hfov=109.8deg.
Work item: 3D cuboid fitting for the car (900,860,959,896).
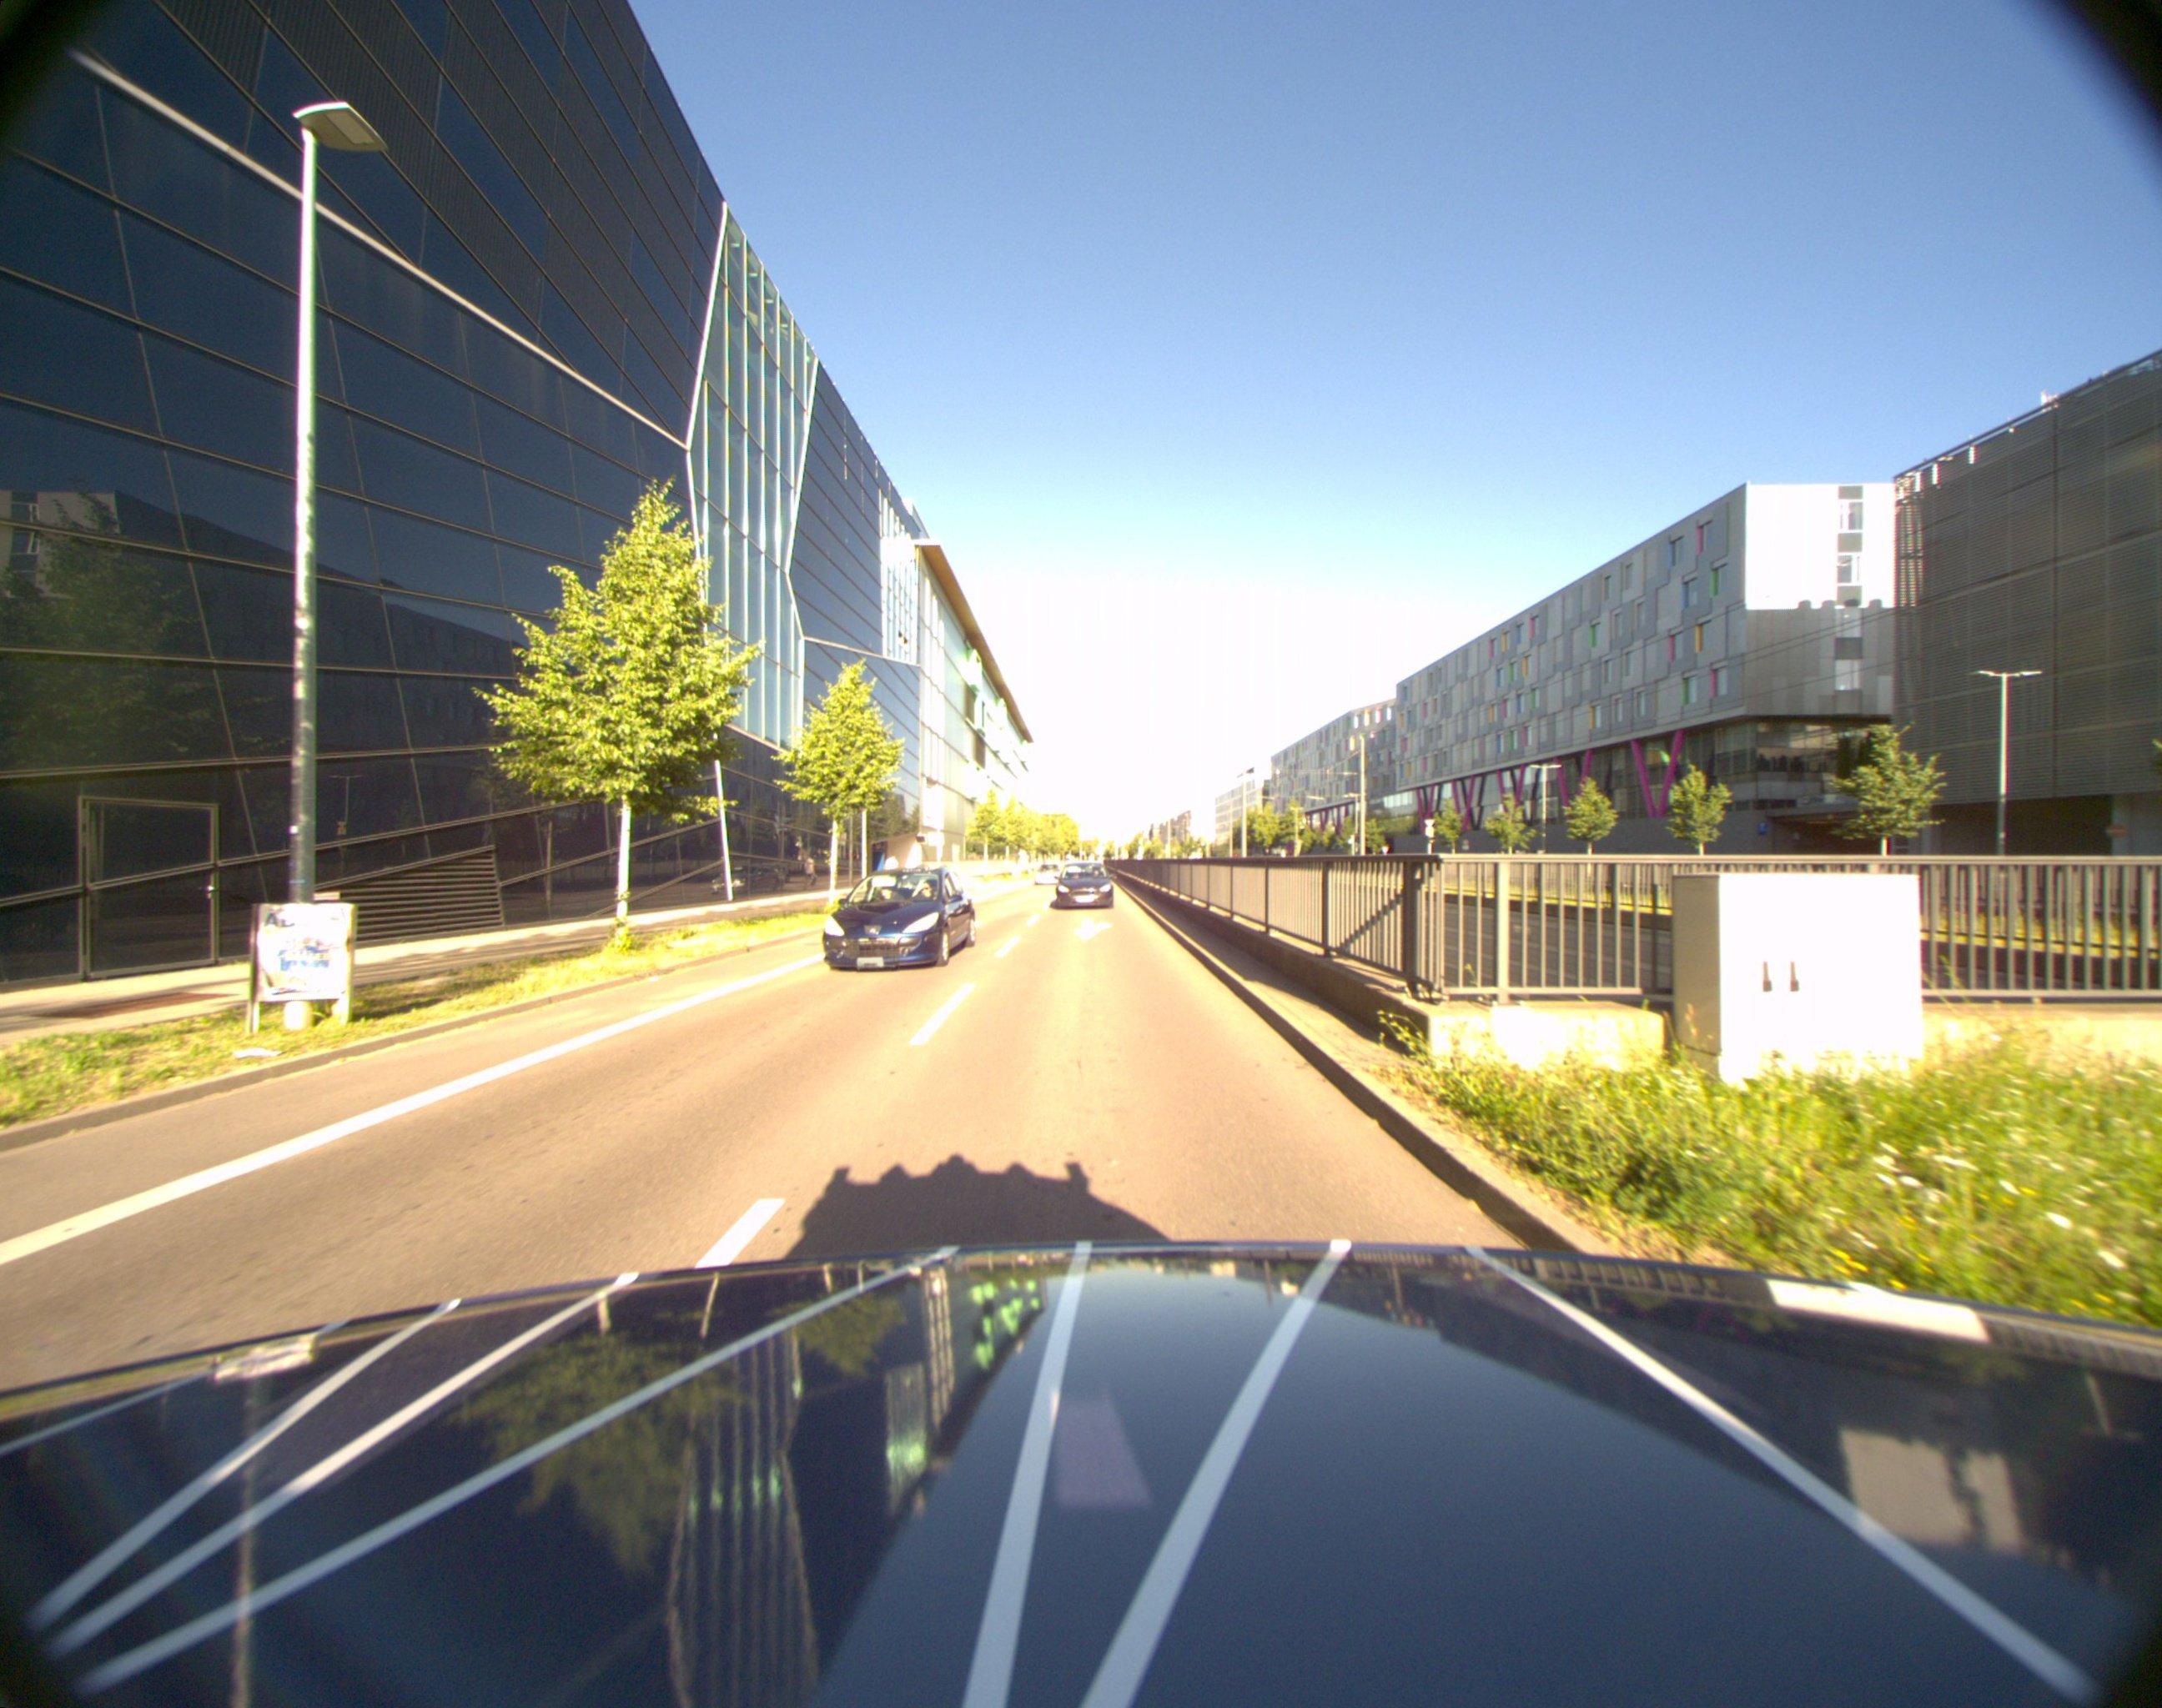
[{"bbox_3d":[-6.964,1.073,35.476,1.740,1.489,4.715,1,0,1],"label":"car"}]

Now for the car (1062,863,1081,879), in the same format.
[{"bbox_3d":[-0.964,1.743,78.579,1.907,1.612,4.000,0,0,1],"label":"car"}]

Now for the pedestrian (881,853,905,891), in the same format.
[{"bbox_3d":[-9.175,0.886,37.141,0.828,1.814,0.905,3,0,0],"label":"pedestrian"}]

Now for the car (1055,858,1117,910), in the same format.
[{"bbox_3d":[0.177,0.895,24.733,1.787,1.499,4.590,-2,0,1],"label":"car"}]

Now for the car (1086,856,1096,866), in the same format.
[{"bbox_3d":[2.095,1.424,161.251,1.998,2.002,4.000,-2,1,1],"label":"car"}]

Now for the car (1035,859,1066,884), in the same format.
[{"bbox_3d":[-1.912,1.098,48.457,1.753,1.469,3.418,-2,0,1],"label":"car"}]

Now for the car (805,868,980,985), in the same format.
[{"bbox_3d":[-2.820,1.024,12.265,1.753,1.469,3.972,-2,0,1],"label":"car"}]
